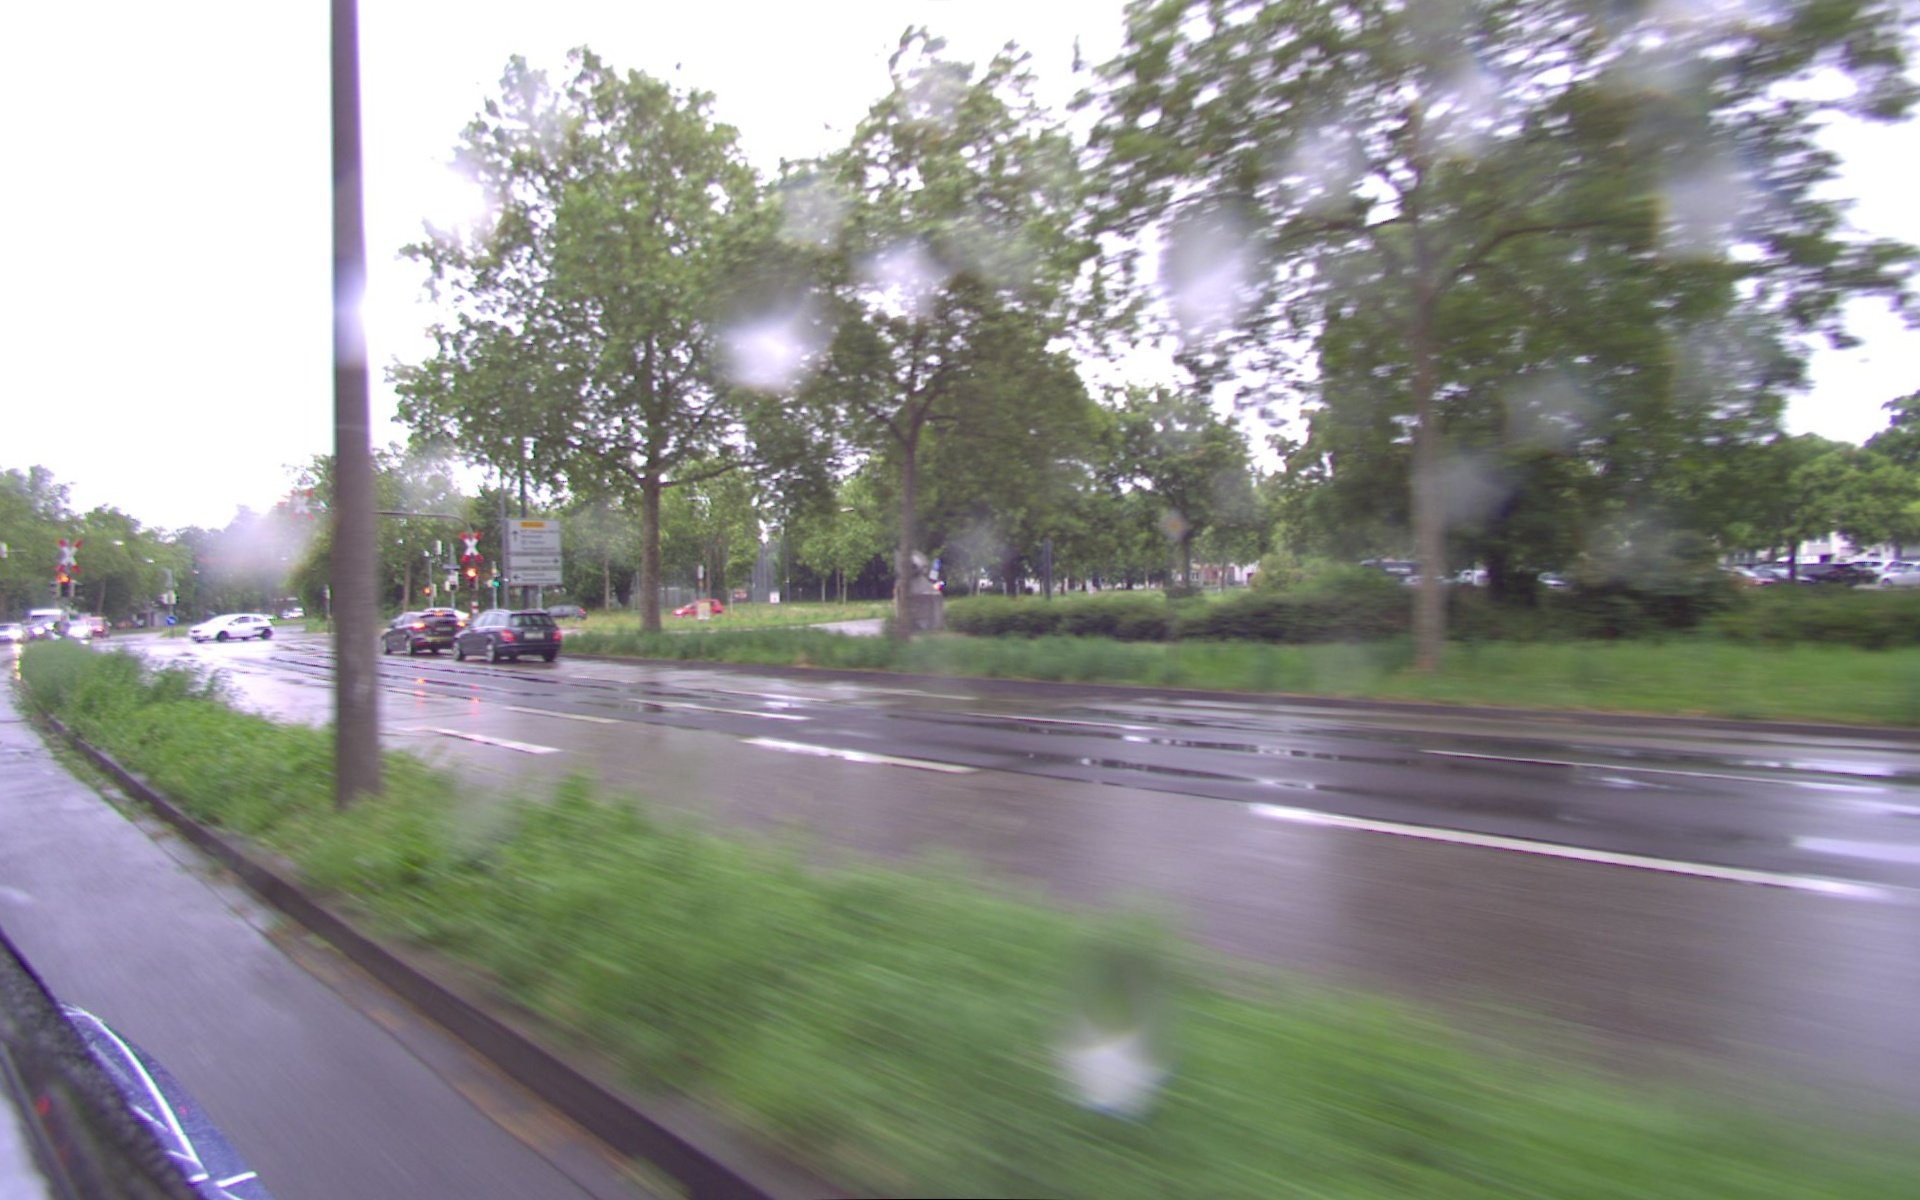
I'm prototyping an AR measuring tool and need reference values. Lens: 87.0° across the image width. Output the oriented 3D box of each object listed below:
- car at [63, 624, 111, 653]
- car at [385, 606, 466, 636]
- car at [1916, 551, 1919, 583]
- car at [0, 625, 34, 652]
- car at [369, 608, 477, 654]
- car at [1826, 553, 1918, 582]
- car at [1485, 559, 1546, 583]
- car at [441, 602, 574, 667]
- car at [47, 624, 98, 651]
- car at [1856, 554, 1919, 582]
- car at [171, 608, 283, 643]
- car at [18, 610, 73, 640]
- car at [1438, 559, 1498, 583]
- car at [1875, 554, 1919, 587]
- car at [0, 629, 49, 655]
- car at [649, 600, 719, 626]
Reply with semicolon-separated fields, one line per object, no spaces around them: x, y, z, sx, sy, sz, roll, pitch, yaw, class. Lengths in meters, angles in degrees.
-64.365;2.790;74.678;1.966;1.901;4.535;-2;1;-32;car
-33.576;1.294;63.668;4.426;1.641;2.006;-2;1;-28;car
59.879;-2.030;59.836;1.966;1.916;4.512;-2;1;-15;car
-63.652;2.579;67.403;1.966;1.641;4.535;-2;1;-31;car
-18.253;1.013;34.310;4.333;1.384;1.971;-1;1;44;car
64.990;-2.269;72.222;1.966;1.916;4.512;-2;1;-15;car
47.587;-2.477;86.813;1.966;1.916;4.512;-2;1;-15;car
-12.921;0.935;28.773;4.333;1.643;1.971;-1;1;44;car
-61.004;2.542;69.638;1.967;1.641;4.534;-2;1;-34;car
67.713;-2.304;72.771;1.966;1.916;4.512;-2;1;-15;car
-39.041;1.338;54.031;1.985;1.641;4.492;-1;1;20;car
-72.094;1.949;79.860;1.966;2.123;5.160;-2;1;-28;car
42.773;-2.407;85.384;1.966;1.916;4.512;-2;1;-15;car
57.294;-1.785;59.752;1.966;1.916;4.512;-2;1;-15;car
-68.513;3.028;74.073;1.966;1.641;4.535;-2;1;-32;car
-19.755;0.876;72.394;4.444;1.641;2.006;-2;1;-28;car
